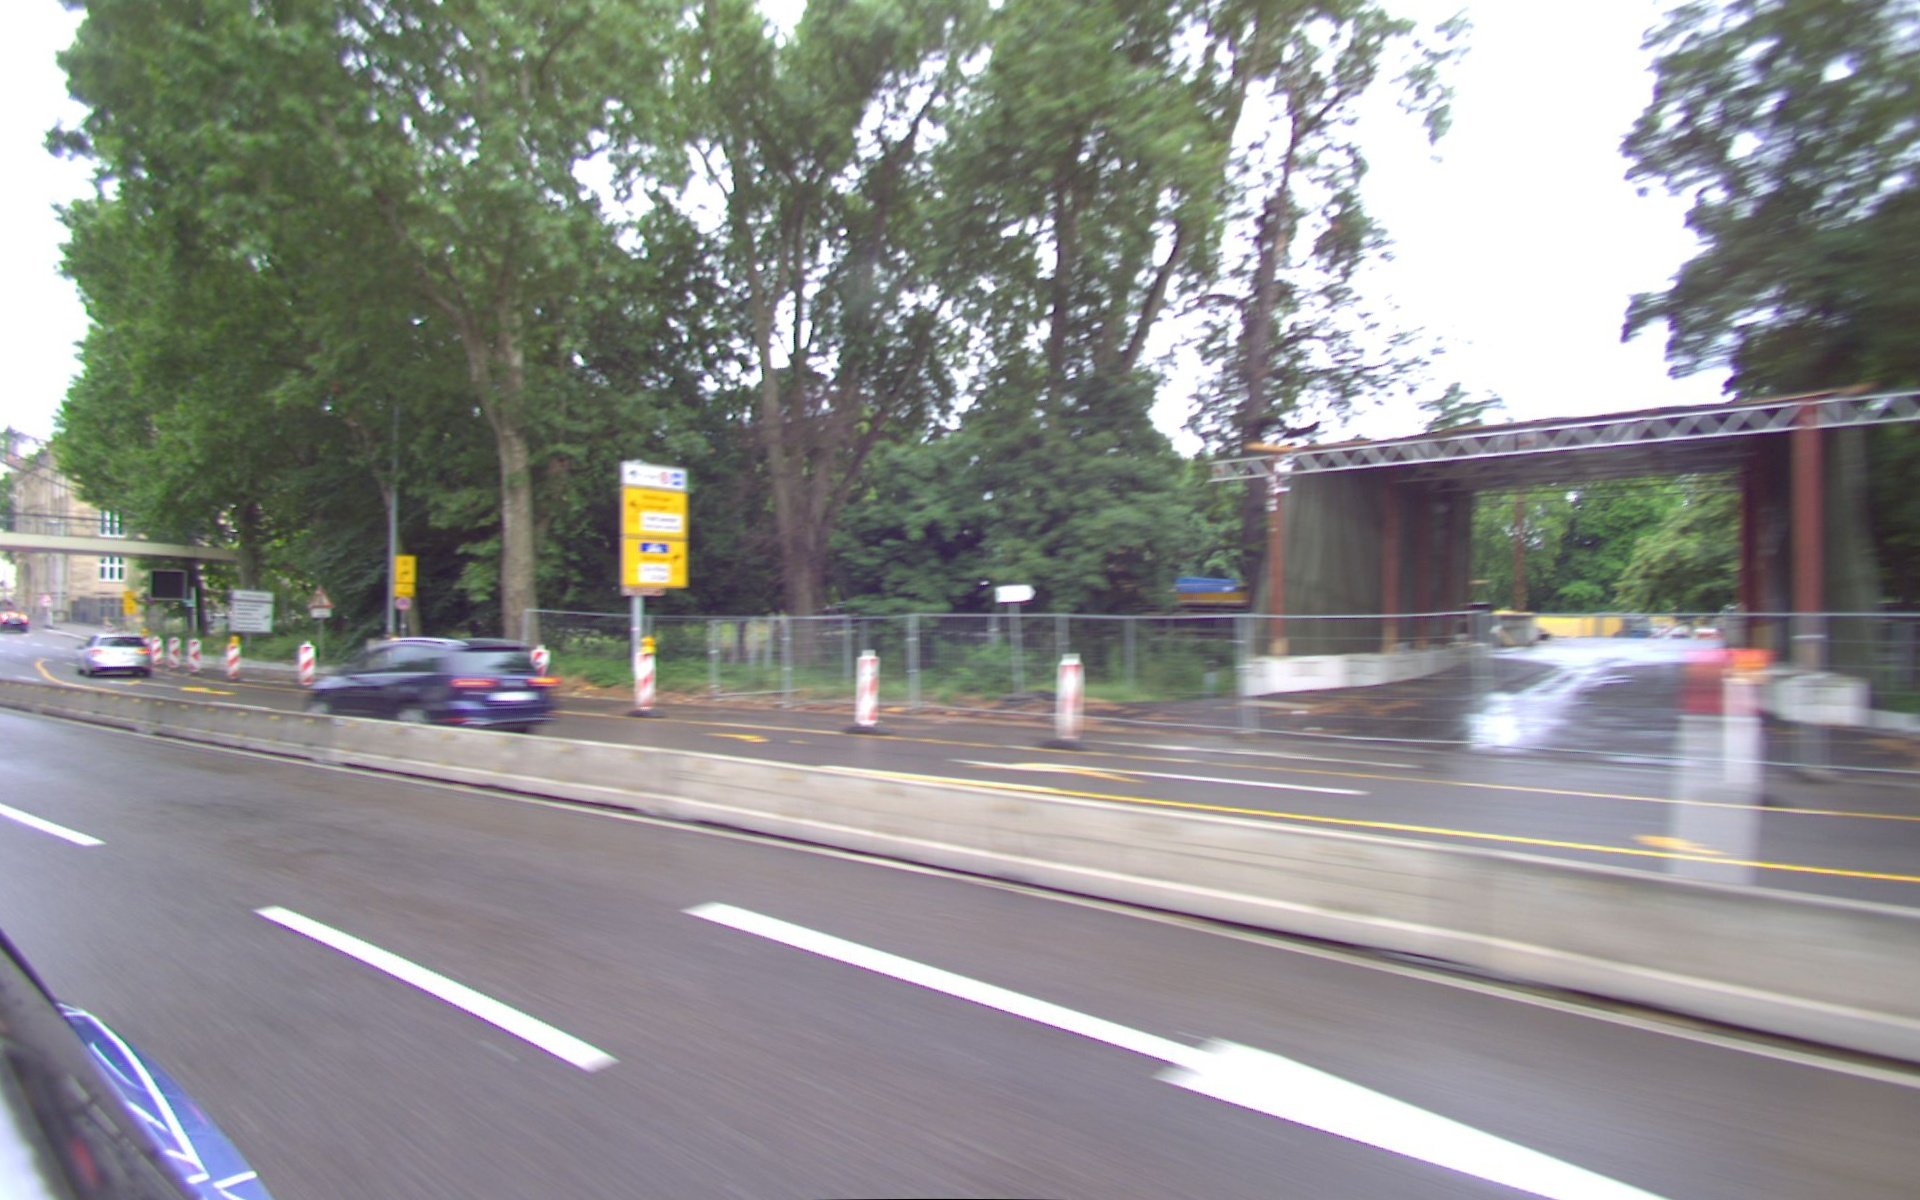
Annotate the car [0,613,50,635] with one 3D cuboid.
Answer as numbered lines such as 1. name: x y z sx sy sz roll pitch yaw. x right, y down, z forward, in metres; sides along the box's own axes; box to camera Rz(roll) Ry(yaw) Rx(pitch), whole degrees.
1. car: -75.297 1.964 81.139 2.002 1.666 4.332 1 -3 -20

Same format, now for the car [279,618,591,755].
1. car: -7.696 1.150 14.712 4.567 1.552 1.978 2 -2 33

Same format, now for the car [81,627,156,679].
1. car: -29.464 1.832 35.393 1.846 1.552 4.096 4 -2 -41
